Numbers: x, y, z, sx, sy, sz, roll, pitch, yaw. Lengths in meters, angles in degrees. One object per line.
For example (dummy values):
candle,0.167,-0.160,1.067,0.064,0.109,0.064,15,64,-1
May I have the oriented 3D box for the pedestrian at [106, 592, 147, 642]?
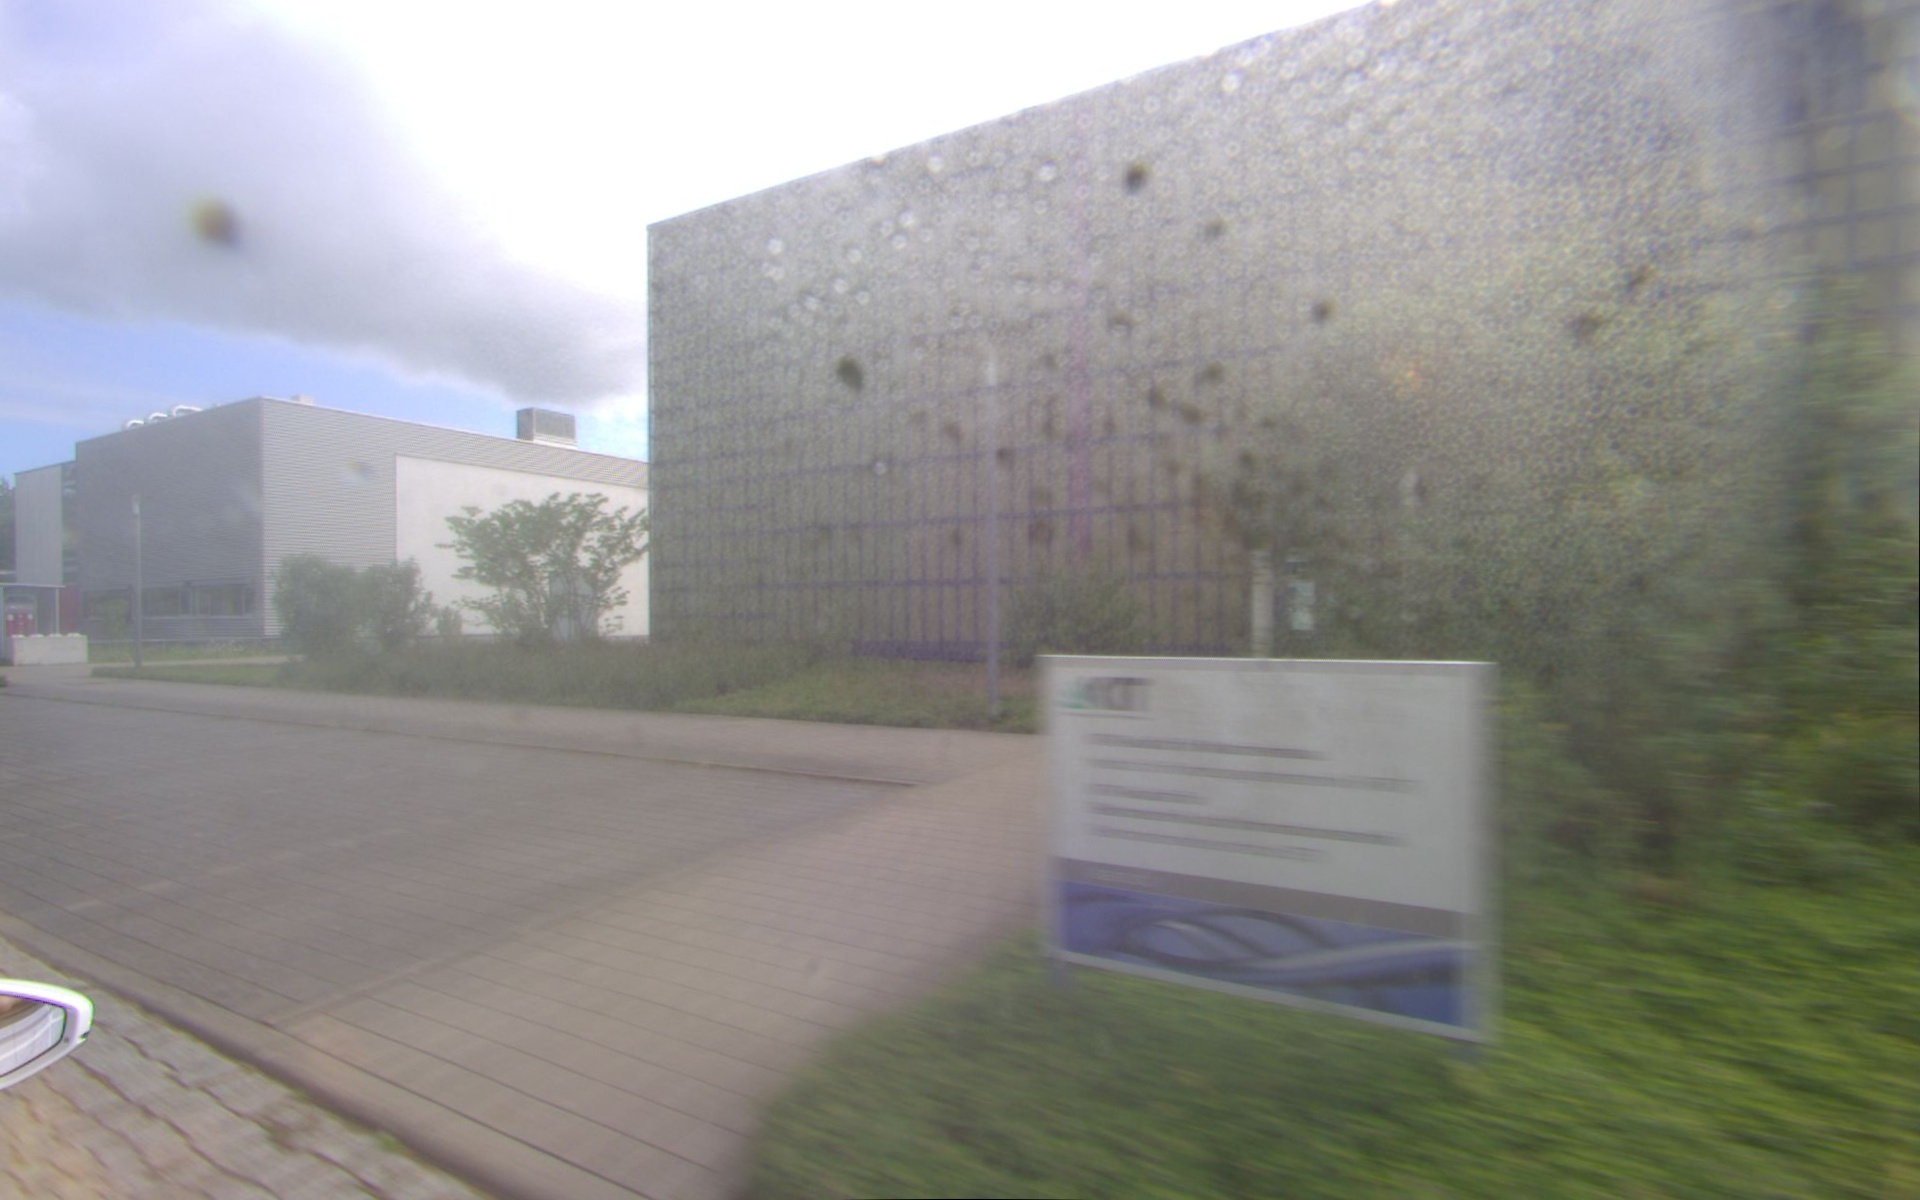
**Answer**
pedestrian,-32.887,0.674,39.533,0.838,1.962,0.920,0,0,2
